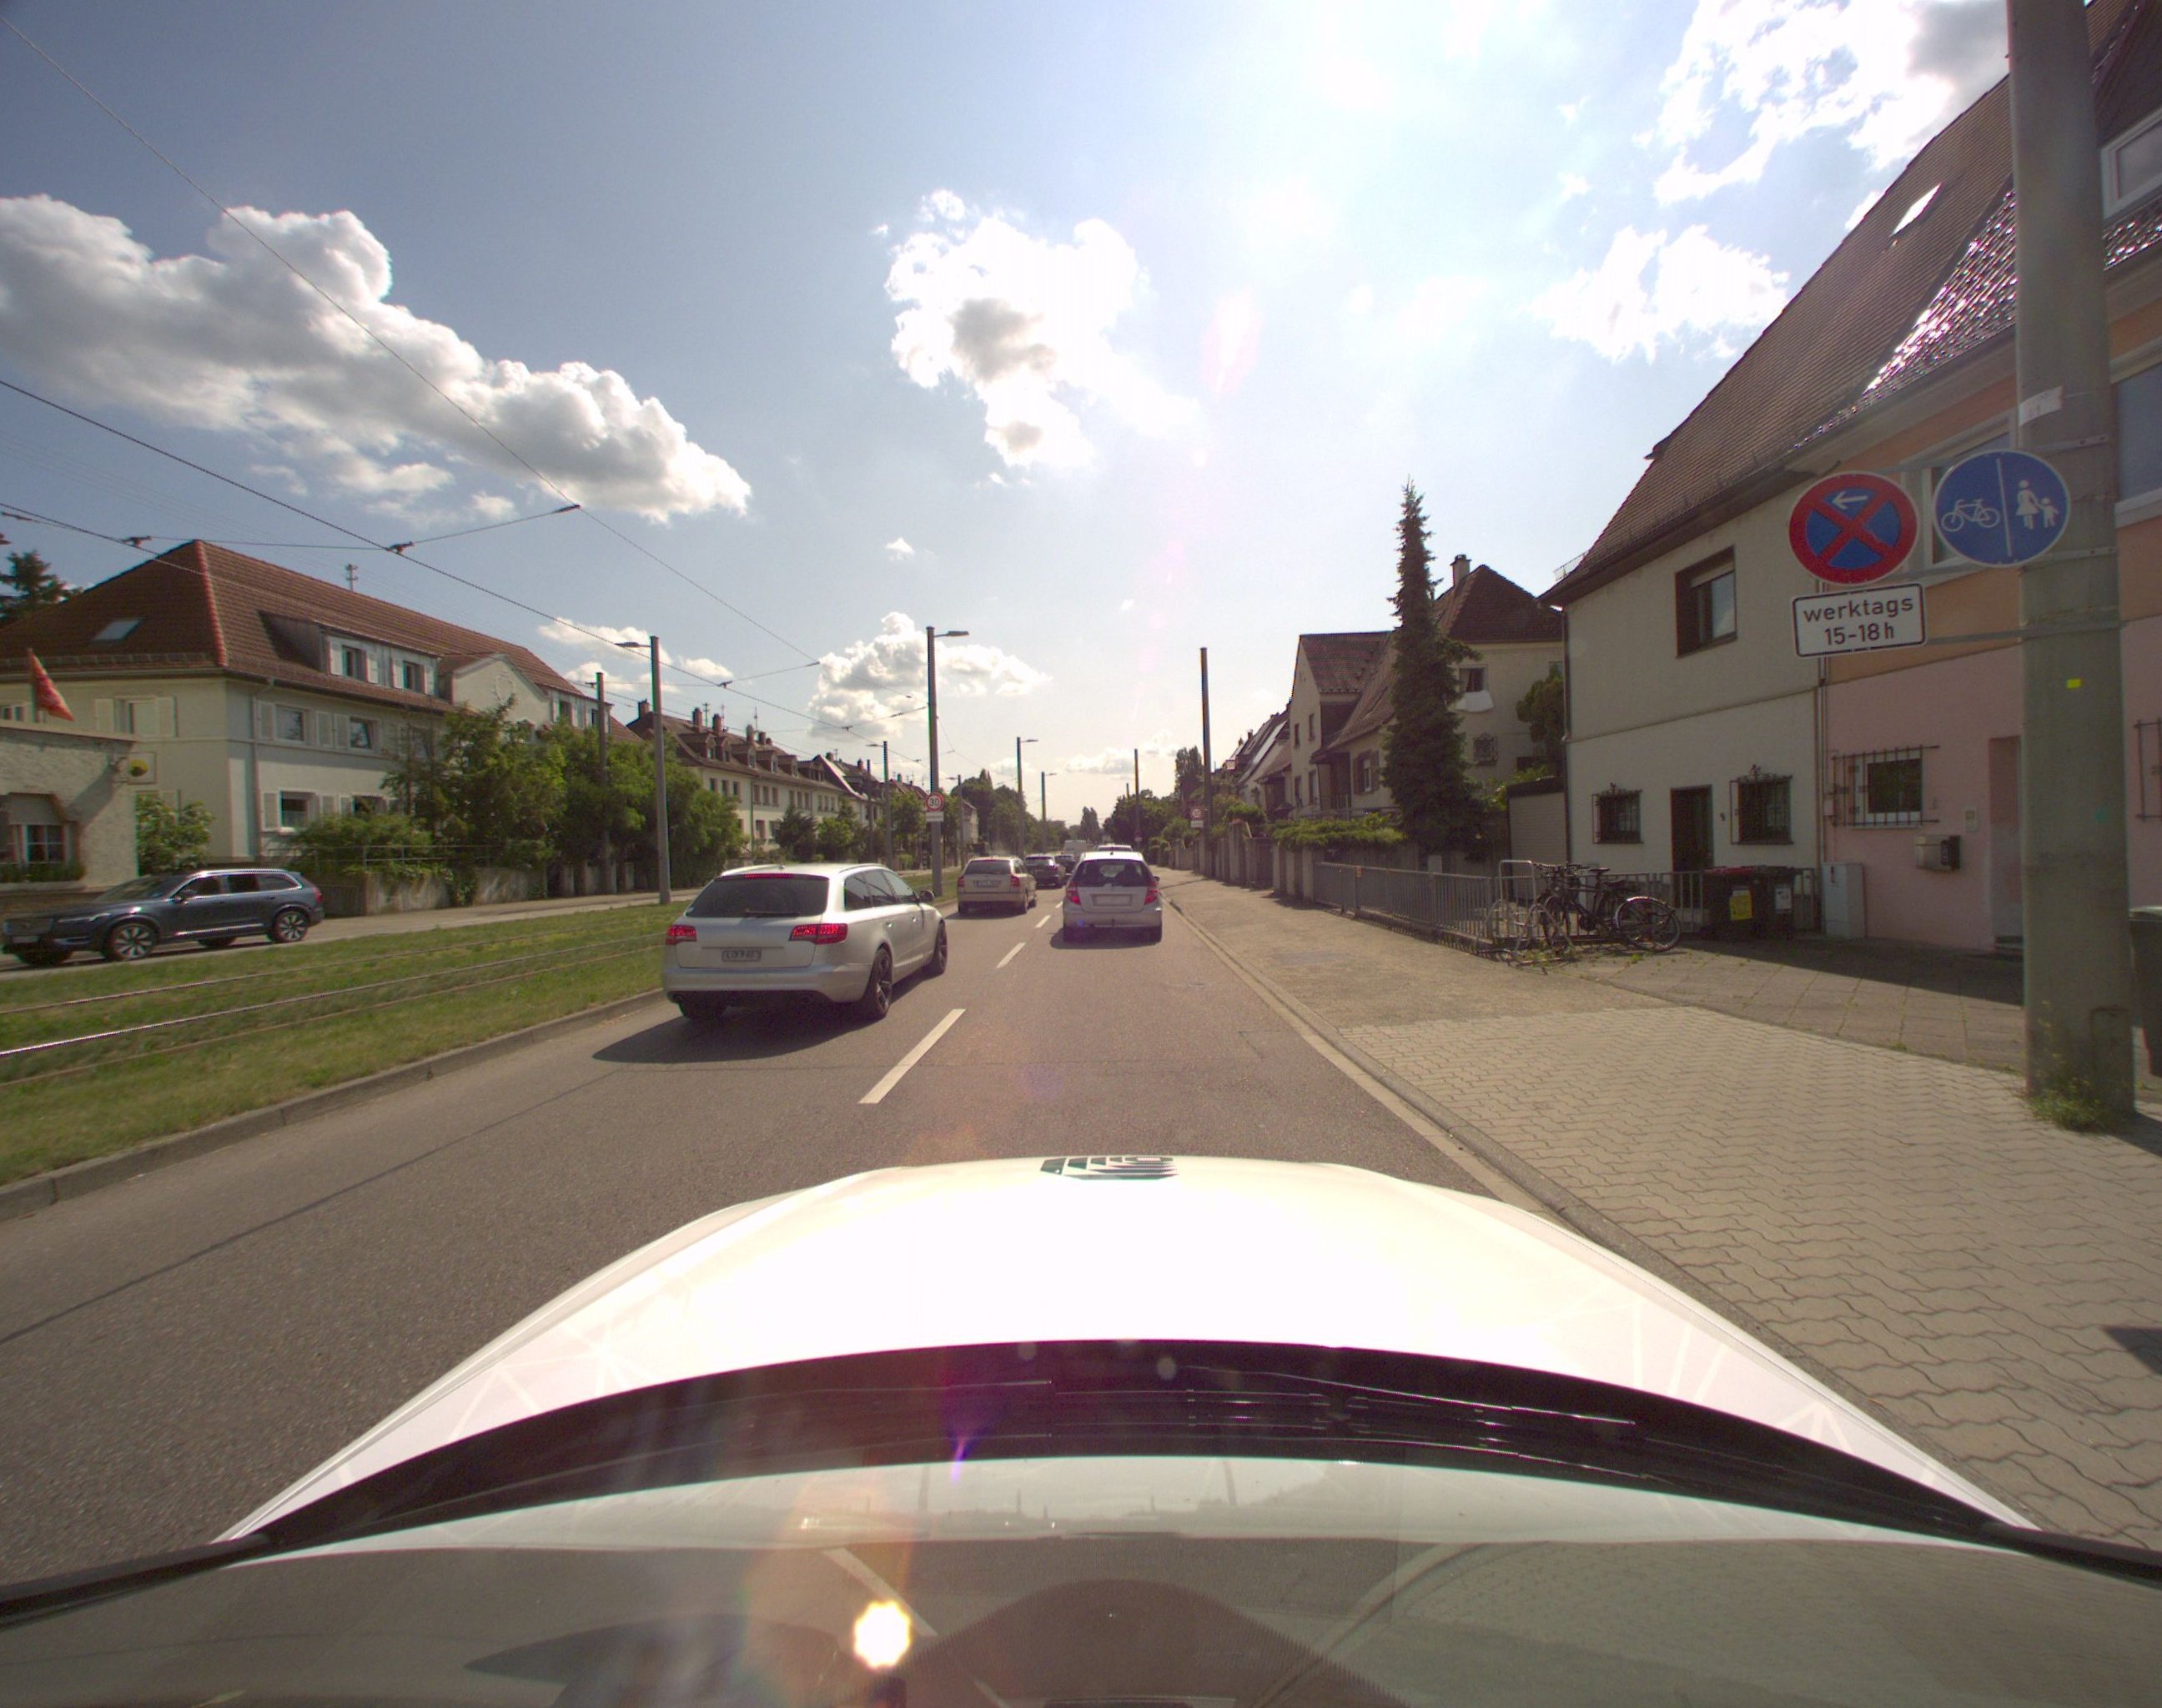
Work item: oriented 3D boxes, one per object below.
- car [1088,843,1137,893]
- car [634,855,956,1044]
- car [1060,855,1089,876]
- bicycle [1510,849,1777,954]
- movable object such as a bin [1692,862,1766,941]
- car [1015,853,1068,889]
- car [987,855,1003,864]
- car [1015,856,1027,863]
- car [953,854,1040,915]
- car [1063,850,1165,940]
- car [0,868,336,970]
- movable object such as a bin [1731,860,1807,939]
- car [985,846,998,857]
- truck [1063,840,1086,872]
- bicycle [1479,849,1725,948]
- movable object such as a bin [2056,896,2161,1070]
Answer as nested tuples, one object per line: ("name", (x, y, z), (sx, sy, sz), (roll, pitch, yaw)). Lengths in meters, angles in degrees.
("car", (1.221, 0.487, 30.945), (1.723, 1.762, 4.019), (0, 0, 2))
("car", (-2.694, 0.781, 9.011), (1.788, 1.472, 4.723), (-1, 1, 1))
("car", (-0.391, 0.738, 54.483), (1.846, 1.388, 4.514), (0, 0, 0))
("bicycle", (6.758, 0.557, 9.888), (2.652, 1.105, 0.786), (-3, 0, 1))
("movable object such as a bin", (8.188, 0.588, 10.302), (0.466, 0.946, 0.558), (-2, 0, 1))
("car", (-1.684, 0.691, 36.155), (1.909, 1.477, 4.565), (0, 0, 2))
("car", (-14.028, 0.892, 132.980), (1.908, 1.477, 4.567), (0, 0, 4))
("car", (-12.363, 1.130, 167.976), (1.908, 1.477, 4.567), (0, 0, 4))
("car", (-2.153, 0.739, 21.749), (1.724, 1.449, 4.125), (0, 0, 2))
("car", (0.564, 0.687, 15.801), (1.724, 1.517, 4.016), (0, 0, 0))
("car", (-19.307, 1.245, 17.447), (2.008, 1.711, 4.937), (-3, 0, 1))
("movable object such as a bin", (8.676, 0.560, 10.288), (0.466, 0.946, 0.558), (-2, 0, 1))
("car", (-18.483, -0.475, 167.617), (1.908, 2.330, 4.567), (0, 0, 4))
("truck", (-0.497, 0.144, 67.263), (1.846, 2.552, 5.854), (0, 0, 0))
("bicycle", (6.756, 0.563, 10.647), (2.716, 1.119, 0.691), (-3, 0, 1))
("movable object such as a bin", (6.173, 0.721, 4.567), (0.509, 0.918, 0.742), (-1, 0, 2))
